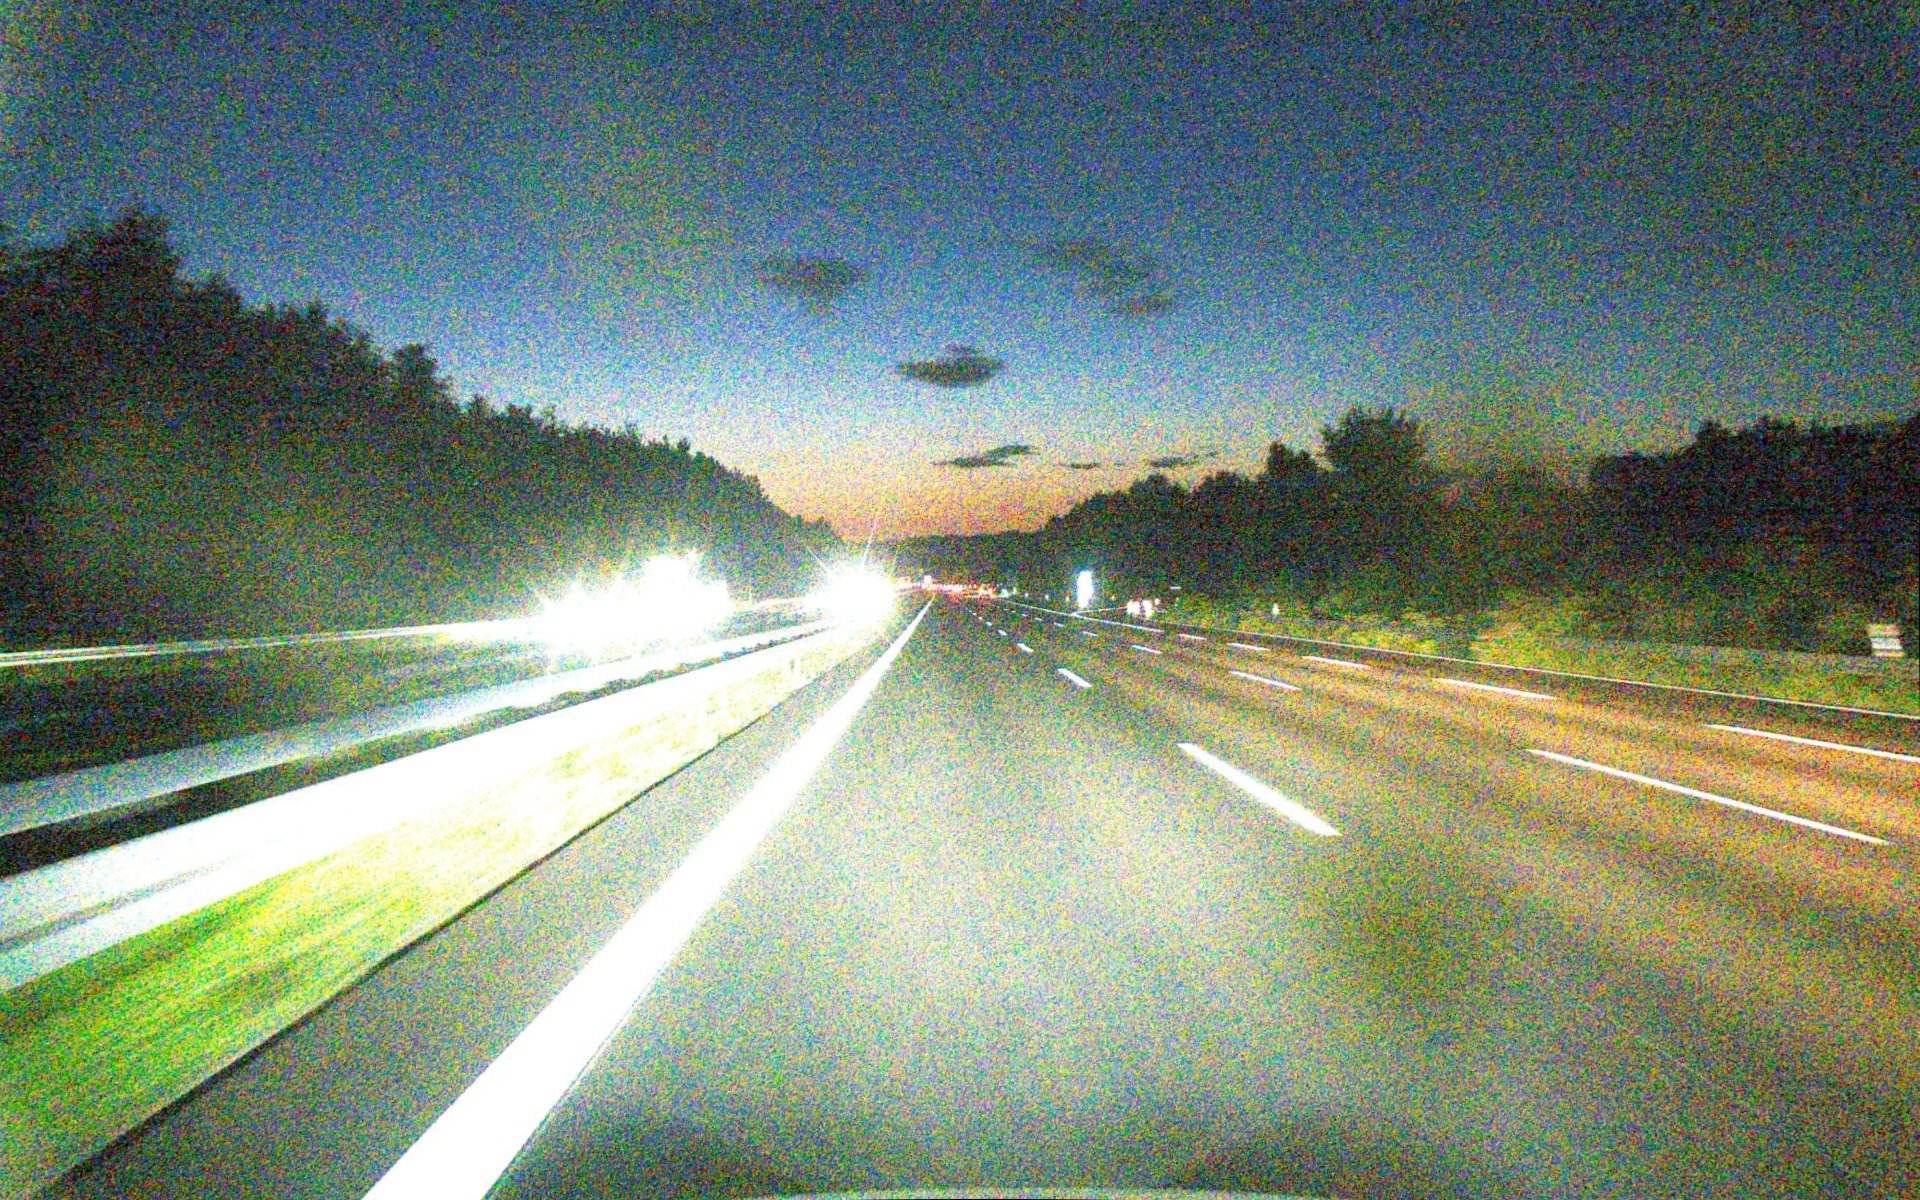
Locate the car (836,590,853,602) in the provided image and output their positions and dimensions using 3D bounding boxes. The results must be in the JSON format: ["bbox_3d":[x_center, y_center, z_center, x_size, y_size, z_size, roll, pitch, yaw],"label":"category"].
[{"bbox_3d":[-14.787,-0.487,211.992,1.953,1.418,5.704,-2,0,-1],"label":"car"}]

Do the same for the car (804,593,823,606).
[{"bbox_3d":[-18.412,-0.075,207.536,1.953,1.511,4.800,-2,0,0],"label":"car"}]

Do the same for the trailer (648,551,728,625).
[{"bbox_3d":[-16.857,-0.699,103.511,2.802,4.248,13.901,-2,0,-1],"label":"trailer"}]

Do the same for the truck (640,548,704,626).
[{"bbox_3d":[-16.735,-0.745,96.419,2.698,4.285,5.824,-2,0,-1],"label":"truck"}]

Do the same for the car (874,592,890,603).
[{"bbox_3d":[-11.016,-0.375,234.674,1.953,1.487,4.900,-3,0,0],"label":"car"}]

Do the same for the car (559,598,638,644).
[{"bbox_3d":[-12.747,0.703,58.540,1.954,1.486,4.689,-2,0,-3],"label":"car"}]
